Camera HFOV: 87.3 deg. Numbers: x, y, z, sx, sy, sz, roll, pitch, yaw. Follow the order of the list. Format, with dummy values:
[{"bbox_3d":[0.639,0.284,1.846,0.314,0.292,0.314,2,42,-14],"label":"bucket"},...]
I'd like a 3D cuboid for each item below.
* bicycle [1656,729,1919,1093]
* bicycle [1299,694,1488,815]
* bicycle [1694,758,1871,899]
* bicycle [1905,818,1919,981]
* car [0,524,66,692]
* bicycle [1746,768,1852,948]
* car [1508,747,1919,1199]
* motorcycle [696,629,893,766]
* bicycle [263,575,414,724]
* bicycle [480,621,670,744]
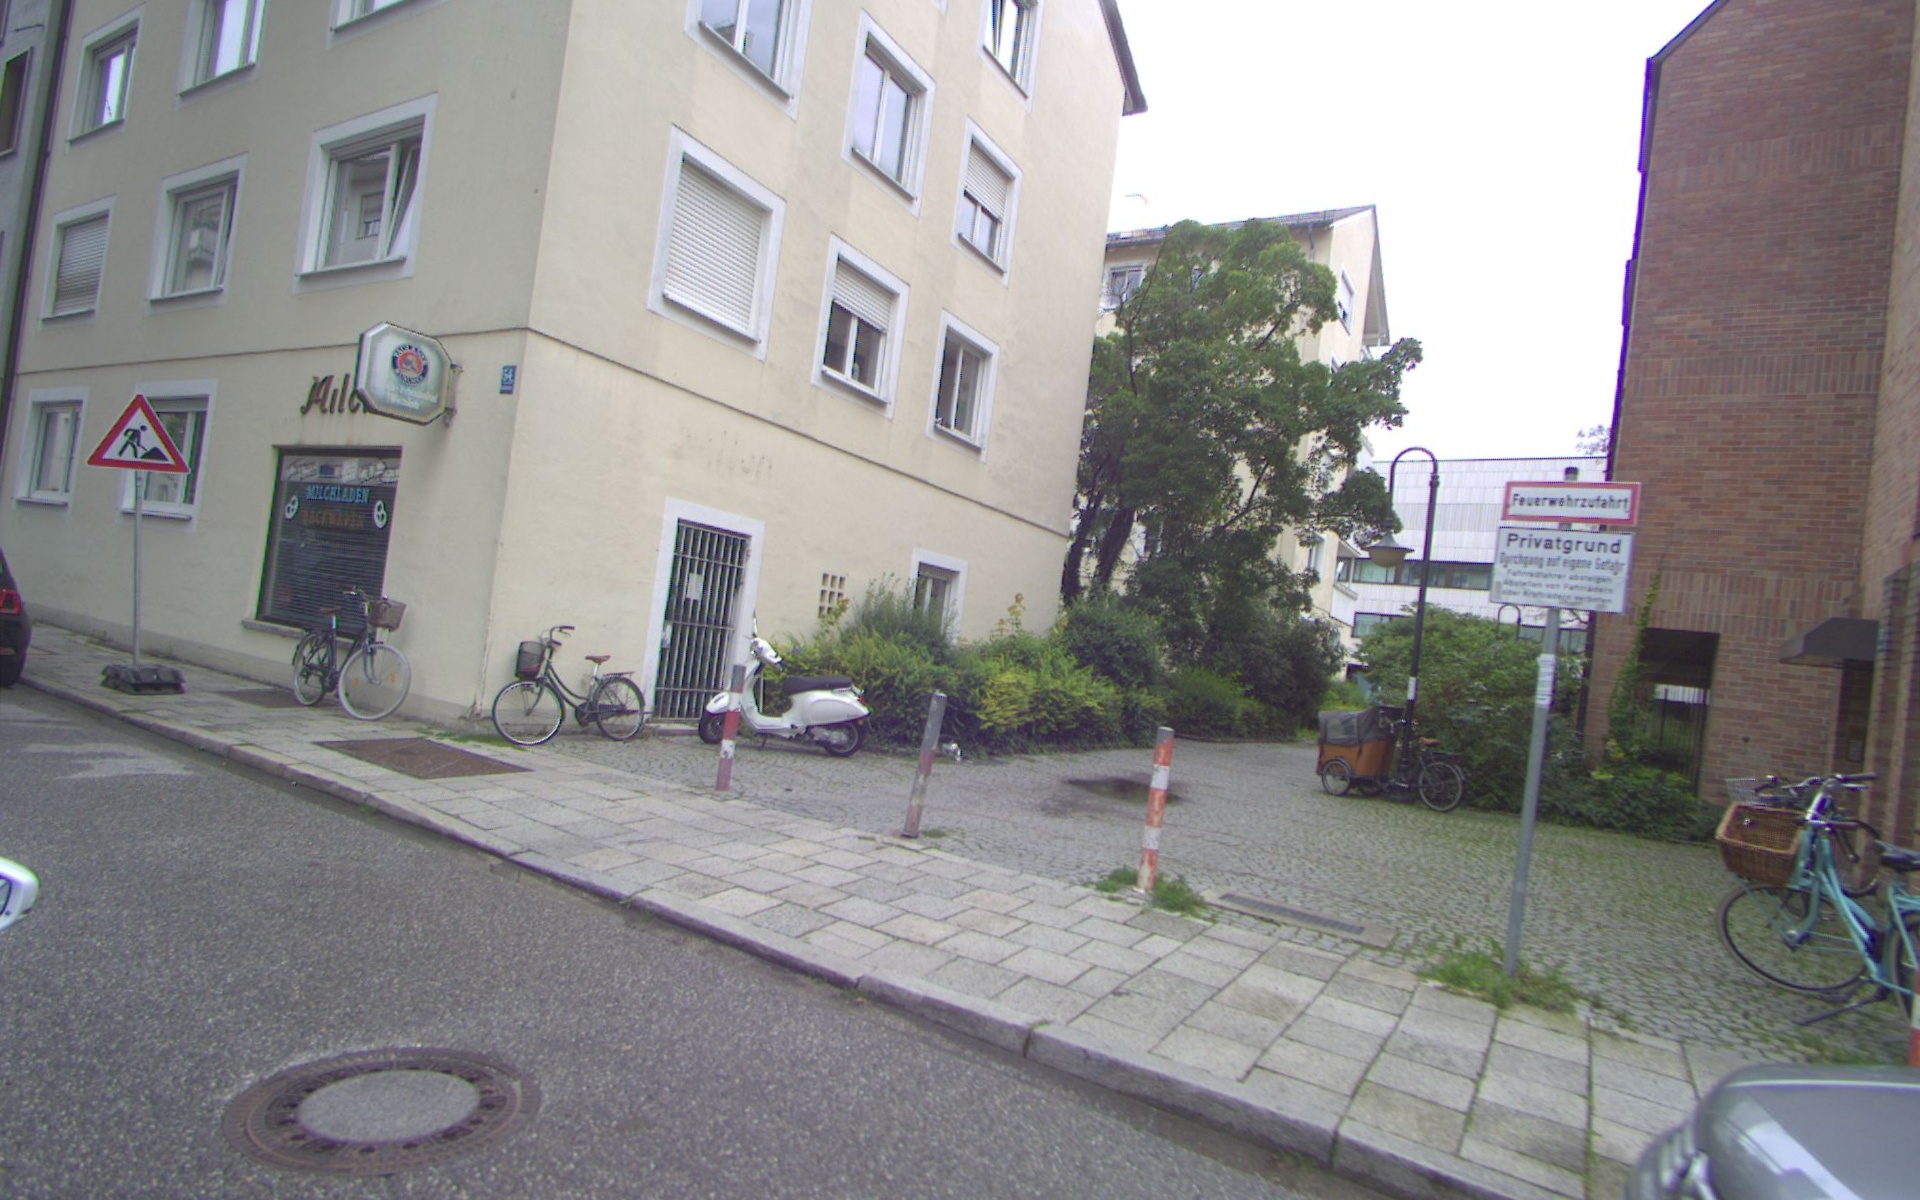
[{"bbox_3d":[4.279,1.389,4.898,0.576,1.338,1.808,6,-2,7],"label":"bicycle"},{"bbox_3d":[5.678,1.992,13.346,0.799,1.282,2.253,8,-4,-24],"label":"bicycle"},{"bbox_3d":[7.446,2.070,9.112,1.405,1.085,0.441,8,-1,-16],"label":"bicycle"},{"bbox_3d":[5.790,1.714,5.654,0.436,1.085,1.749,6,-2,38],"label":"bicycle"},{"bbox_3d":[-10.324,-0.146,9.594,3.480,1.486,1.639,6,-4,32],"label":"car"},{"bbox_3d":[6.278,1.865,7.585,0.436,1.085,1.881,6,-2,38],"label":"bicycle"},{"bbox_3d":[3.007,1.221,0.977,4.286,1.450,1.726,6,-3,31],"label":"car"},{"bbox_3d":[-1.694,1.004,10.487,1.841,1.135,0.621,8,0,-6],"label":"motorcycle"},{"bbox_3d":[-5.936,0.440,9.567,1.789,1.229,0.410,5,0,33],"label":"bicycle"},{"bbox_3d":[-3.583,0.791,9.525,0.404,1.038,1.704,5,-2,32],"label":"bicycle"}]
